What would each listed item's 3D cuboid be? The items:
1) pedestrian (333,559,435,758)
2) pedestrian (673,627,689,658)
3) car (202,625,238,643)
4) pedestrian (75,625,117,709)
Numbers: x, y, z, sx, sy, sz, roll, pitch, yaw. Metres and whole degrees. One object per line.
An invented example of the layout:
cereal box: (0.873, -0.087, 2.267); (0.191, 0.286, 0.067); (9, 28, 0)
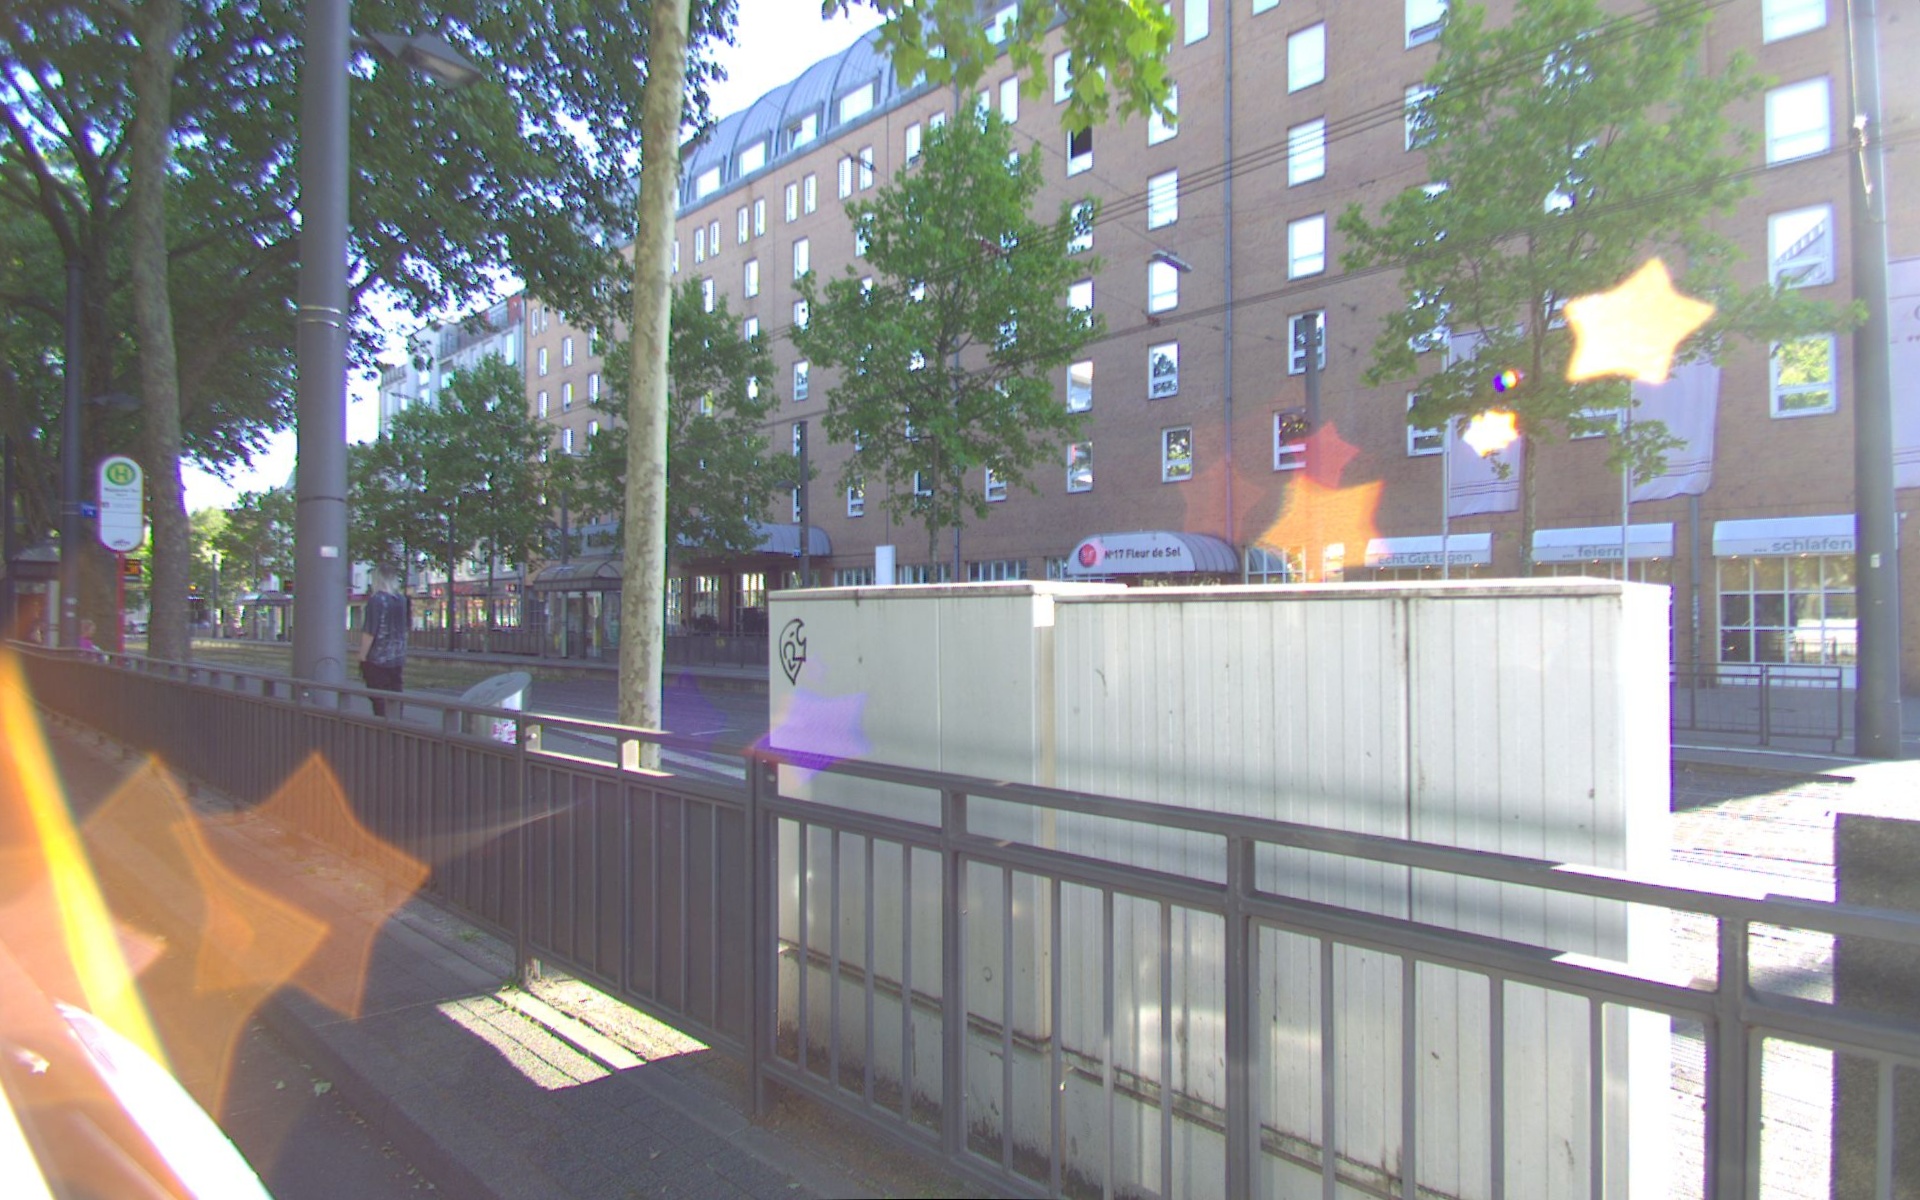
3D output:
pedestrian: (-5.725, 0.553, 10.073); (0.619, 1.897, 0.602); (1, 0, 24)
pedestrian: (-13.094, 2.008, 47.473); (0.516, 1.447, 0.512); (-2, -2, 44)
car: (-70.393, 3.205, 96.267); (3.998, 1.719, 1.972); (-1, -2, 42)
pedestrian: (-13.959, 1.065, 16.355); (0.493, 1.325, 0.419); (1, -2, -41)
